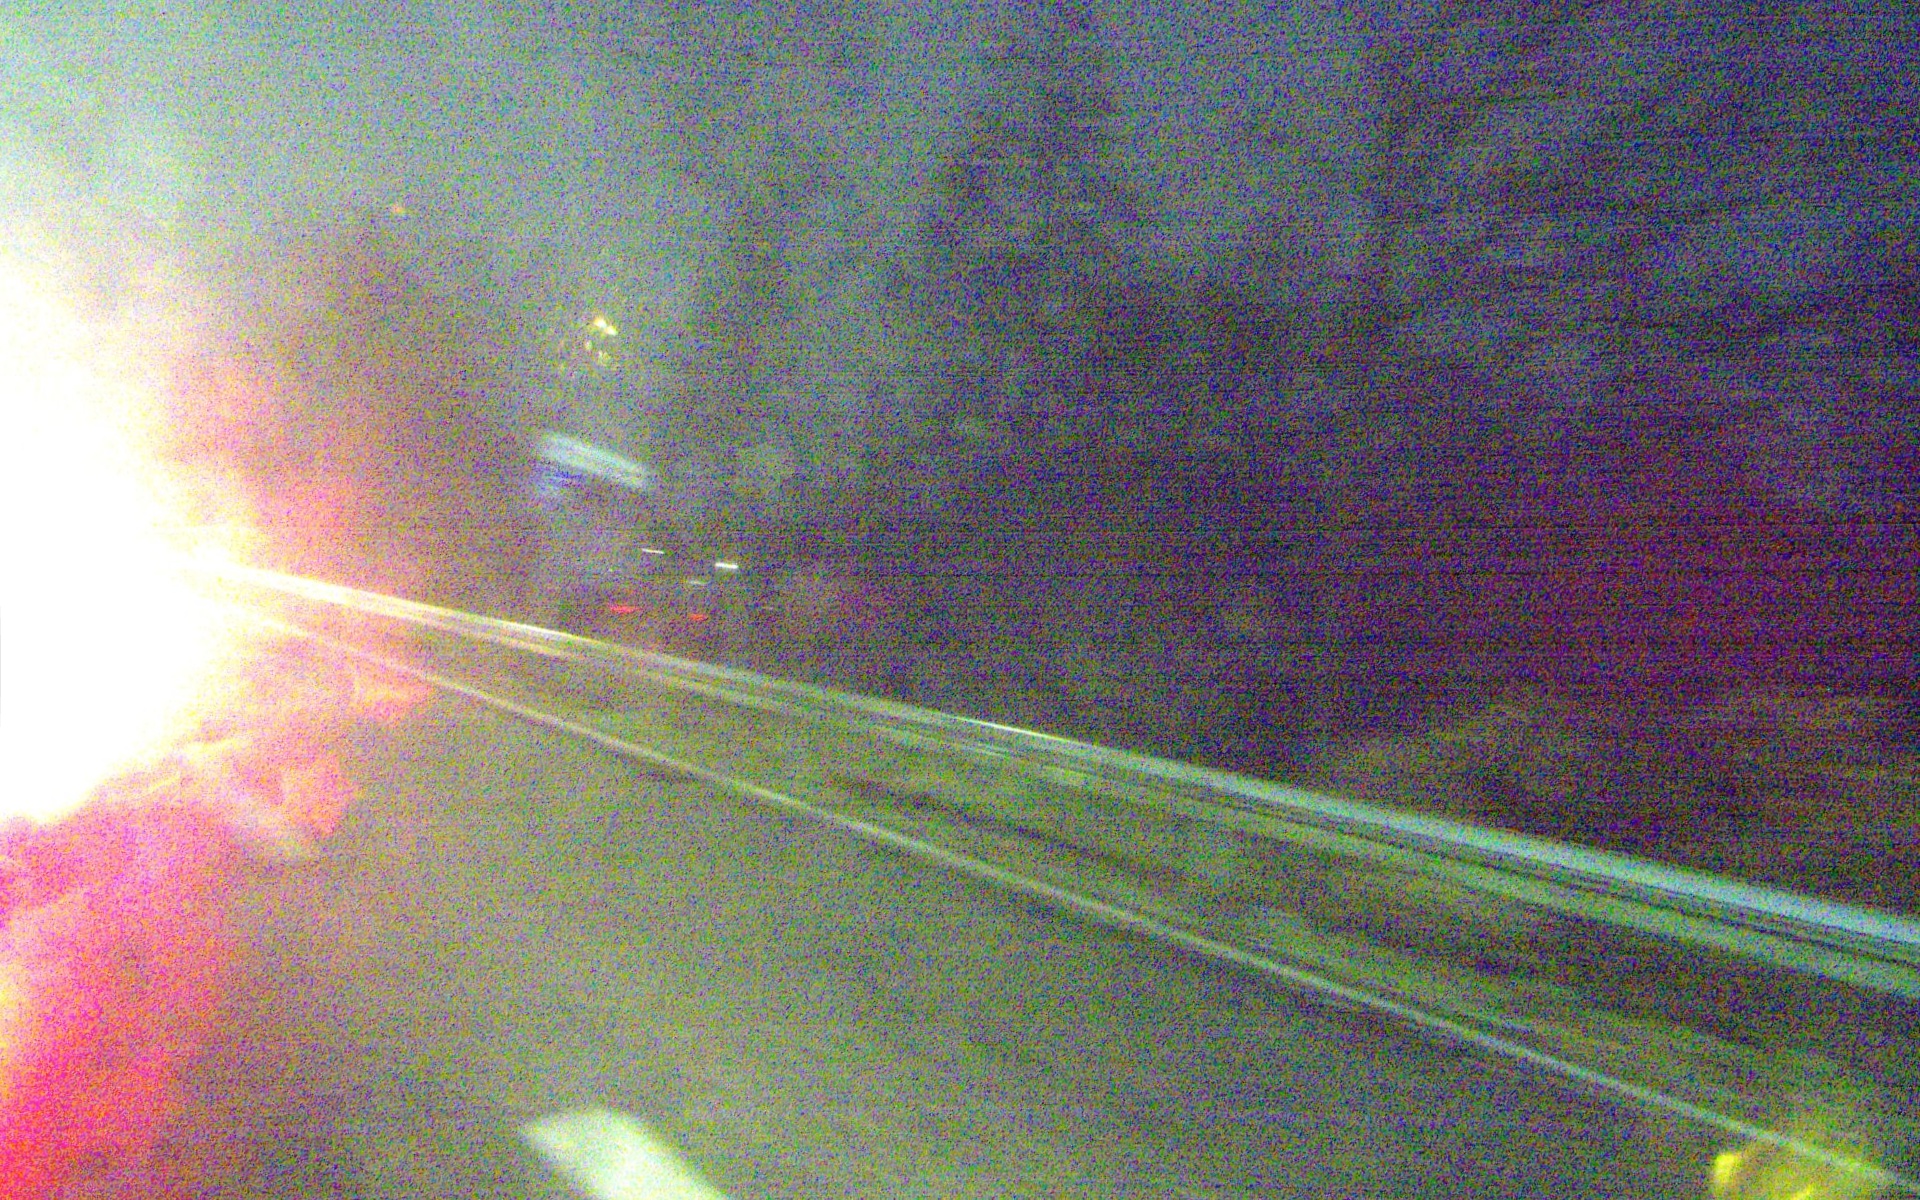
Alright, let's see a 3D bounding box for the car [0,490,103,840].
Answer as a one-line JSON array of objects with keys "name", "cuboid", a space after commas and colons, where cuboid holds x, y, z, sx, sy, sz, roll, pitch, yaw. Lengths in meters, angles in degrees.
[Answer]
[{"name": "car", "cuboid": [-6.155, 0.066, 5.400, 4.507, 1.502, 1.818, 6, -1, 43]}]
